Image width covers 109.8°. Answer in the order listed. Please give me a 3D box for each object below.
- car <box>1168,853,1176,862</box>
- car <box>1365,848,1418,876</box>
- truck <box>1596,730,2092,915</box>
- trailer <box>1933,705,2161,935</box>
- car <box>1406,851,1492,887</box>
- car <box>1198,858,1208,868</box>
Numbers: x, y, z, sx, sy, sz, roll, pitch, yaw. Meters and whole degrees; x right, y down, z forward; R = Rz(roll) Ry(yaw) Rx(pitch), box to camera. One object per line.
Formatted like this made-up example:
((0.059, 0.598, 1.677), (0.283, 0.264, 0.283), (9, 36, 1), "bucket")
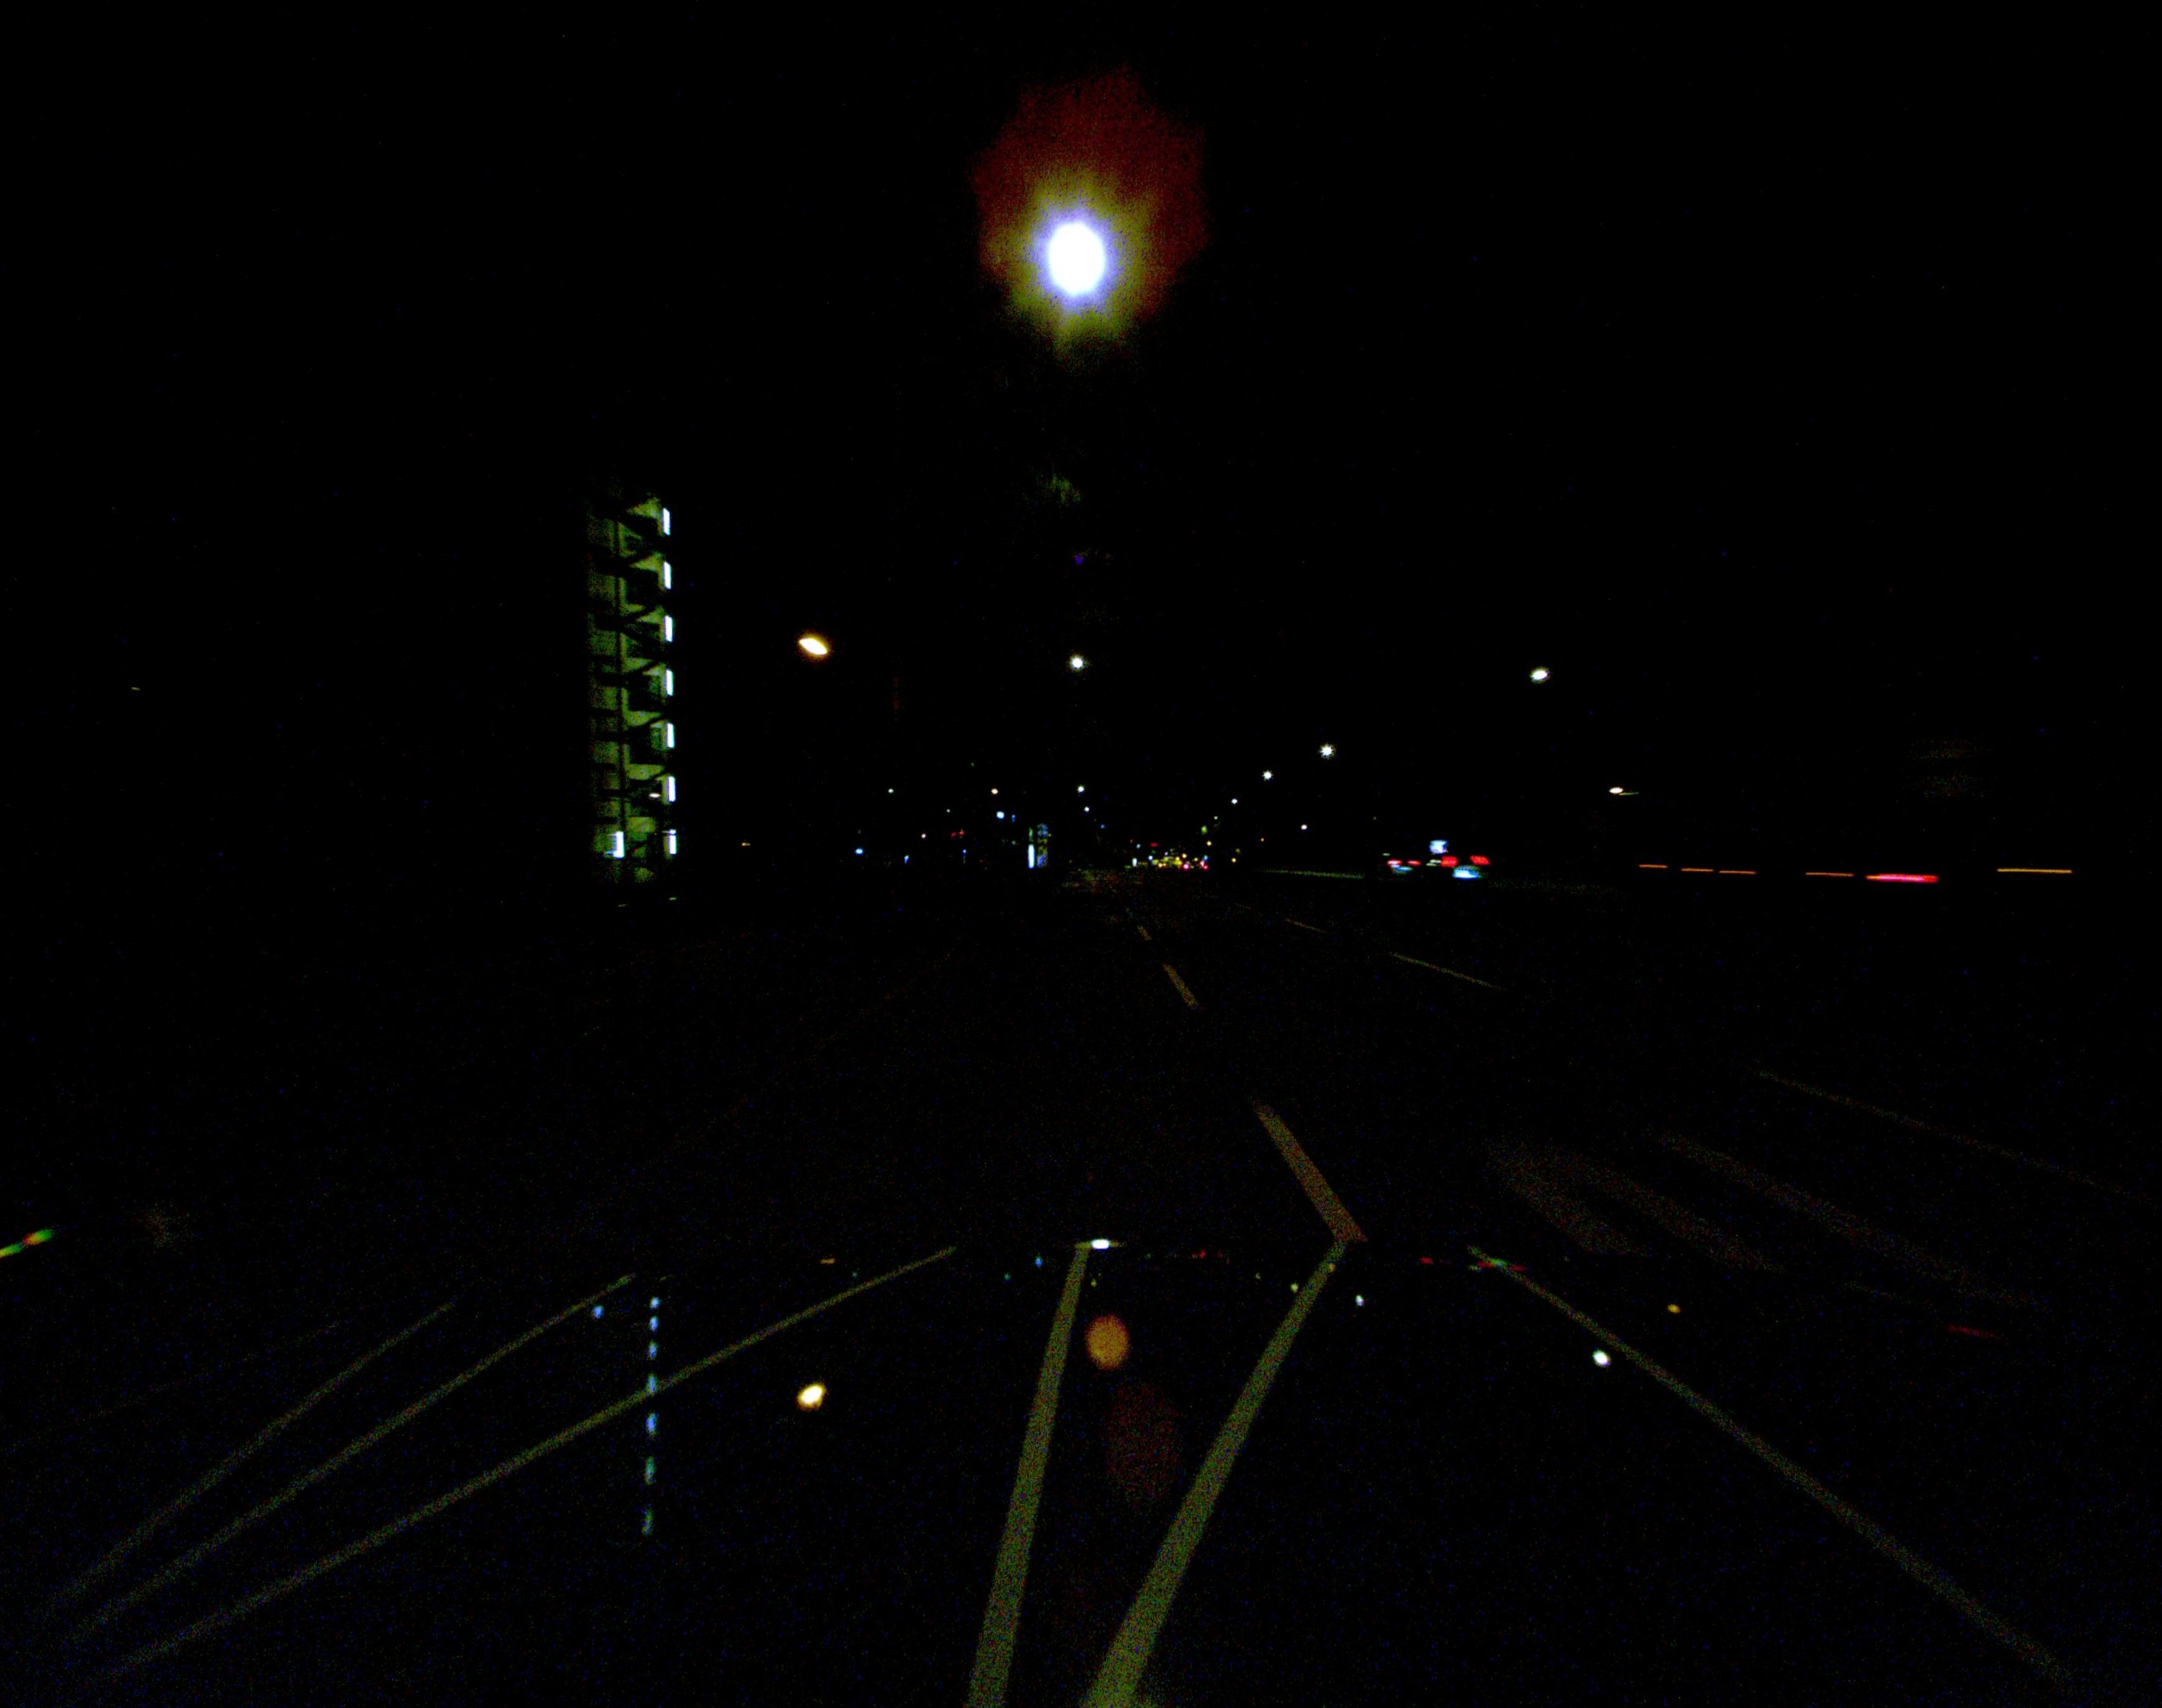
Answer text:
((22.053, 0.825, 184.735), (1.794, 1.896, 4.001), (-2, 1, 5), "car")
((19.674, 0.486, 48.316), (1.730, 1.616, 3.961), (-2, 1, 1), "car")
((20.358, -0.737, 21.940), (3.691, 3.932, 10.418), (-2, 1, -1), "truck")
((20.532, -0.642, 12.412), (3.706, 3.966, 8.393), (-2, 1, -1), "trailer")
((16.740, 0.645, 34.819), (1.809, 1.490, 4.084), (-1, 1, -2), "car")
((26.079, 1.843, 162.095), (2.059, 2.002, 4.002), (-2, 1, 9), "car")
